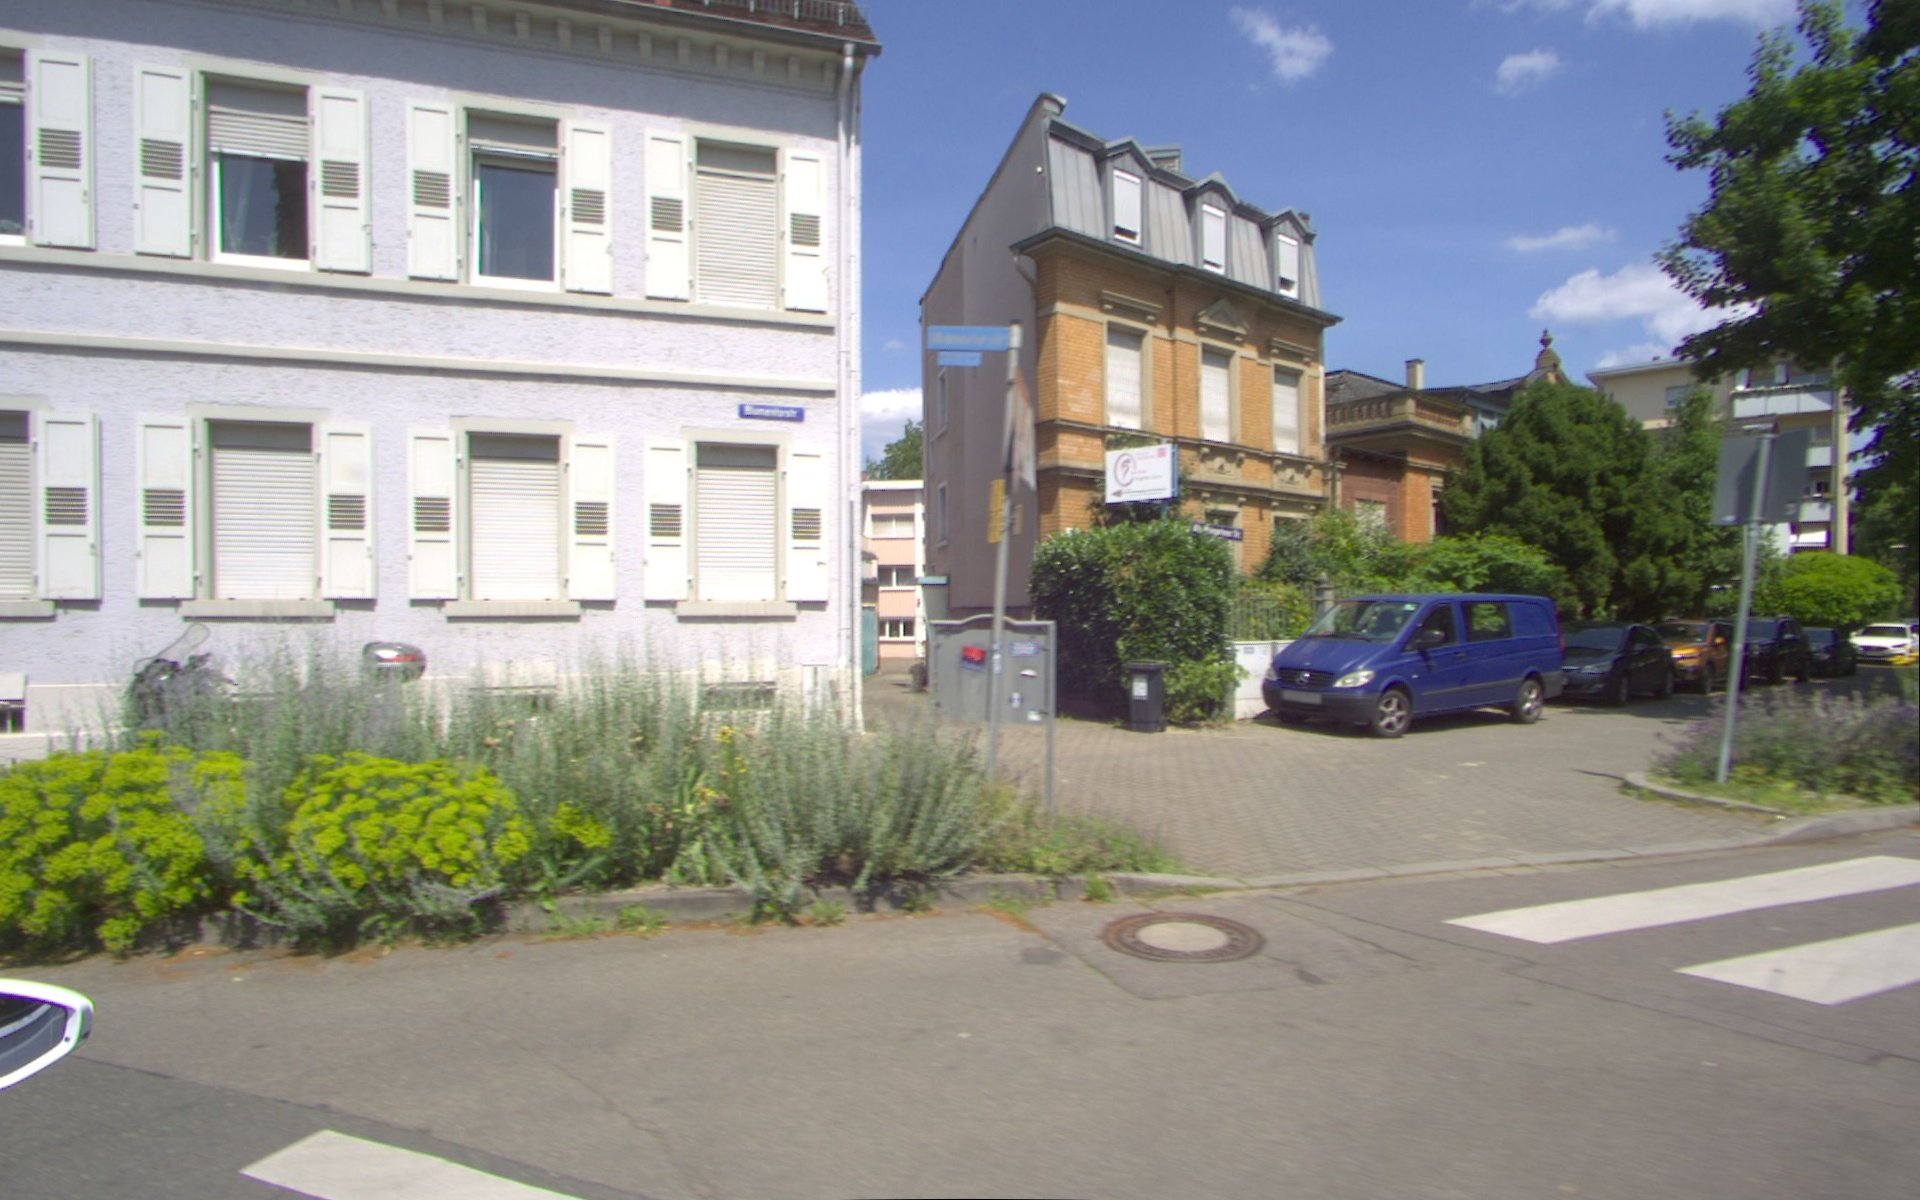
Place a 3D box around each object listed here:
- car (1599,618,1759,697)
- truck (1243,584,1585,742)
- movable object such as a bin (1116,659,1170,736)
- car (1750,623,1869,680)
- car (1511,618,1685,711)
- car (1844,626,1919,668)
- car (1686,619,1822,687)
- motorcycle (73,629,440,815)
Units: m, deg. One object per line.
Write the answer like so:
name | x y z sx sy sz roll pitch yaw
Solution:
car | 15.834 1.177 22.001 3.953 1.578 1.826 1 -1 -38
truck | 6.698 0.811 14.576 5.208 1.952 1.905 1 1 -31
movable object such as a bin | 2.423 1.281 13.294 0.622 0.974 0.617 0 0 1
car | 24.138 1.410 28.411 3.953 1.476 1.826 1 -1 -38
car | 12.070 1.135 18.870 3.811 1.546 1.700 1 0 -40
car | 33.681 1.665 36.345 3.955 1.456 1.825 1 -1 -39
car | 19.985 1.271 25.166 3.953 1.578 1.826 1 -1 -38
motorcycle | -5.602 0.936 8.132 2.294 1.370 0.802 0 0 -11
